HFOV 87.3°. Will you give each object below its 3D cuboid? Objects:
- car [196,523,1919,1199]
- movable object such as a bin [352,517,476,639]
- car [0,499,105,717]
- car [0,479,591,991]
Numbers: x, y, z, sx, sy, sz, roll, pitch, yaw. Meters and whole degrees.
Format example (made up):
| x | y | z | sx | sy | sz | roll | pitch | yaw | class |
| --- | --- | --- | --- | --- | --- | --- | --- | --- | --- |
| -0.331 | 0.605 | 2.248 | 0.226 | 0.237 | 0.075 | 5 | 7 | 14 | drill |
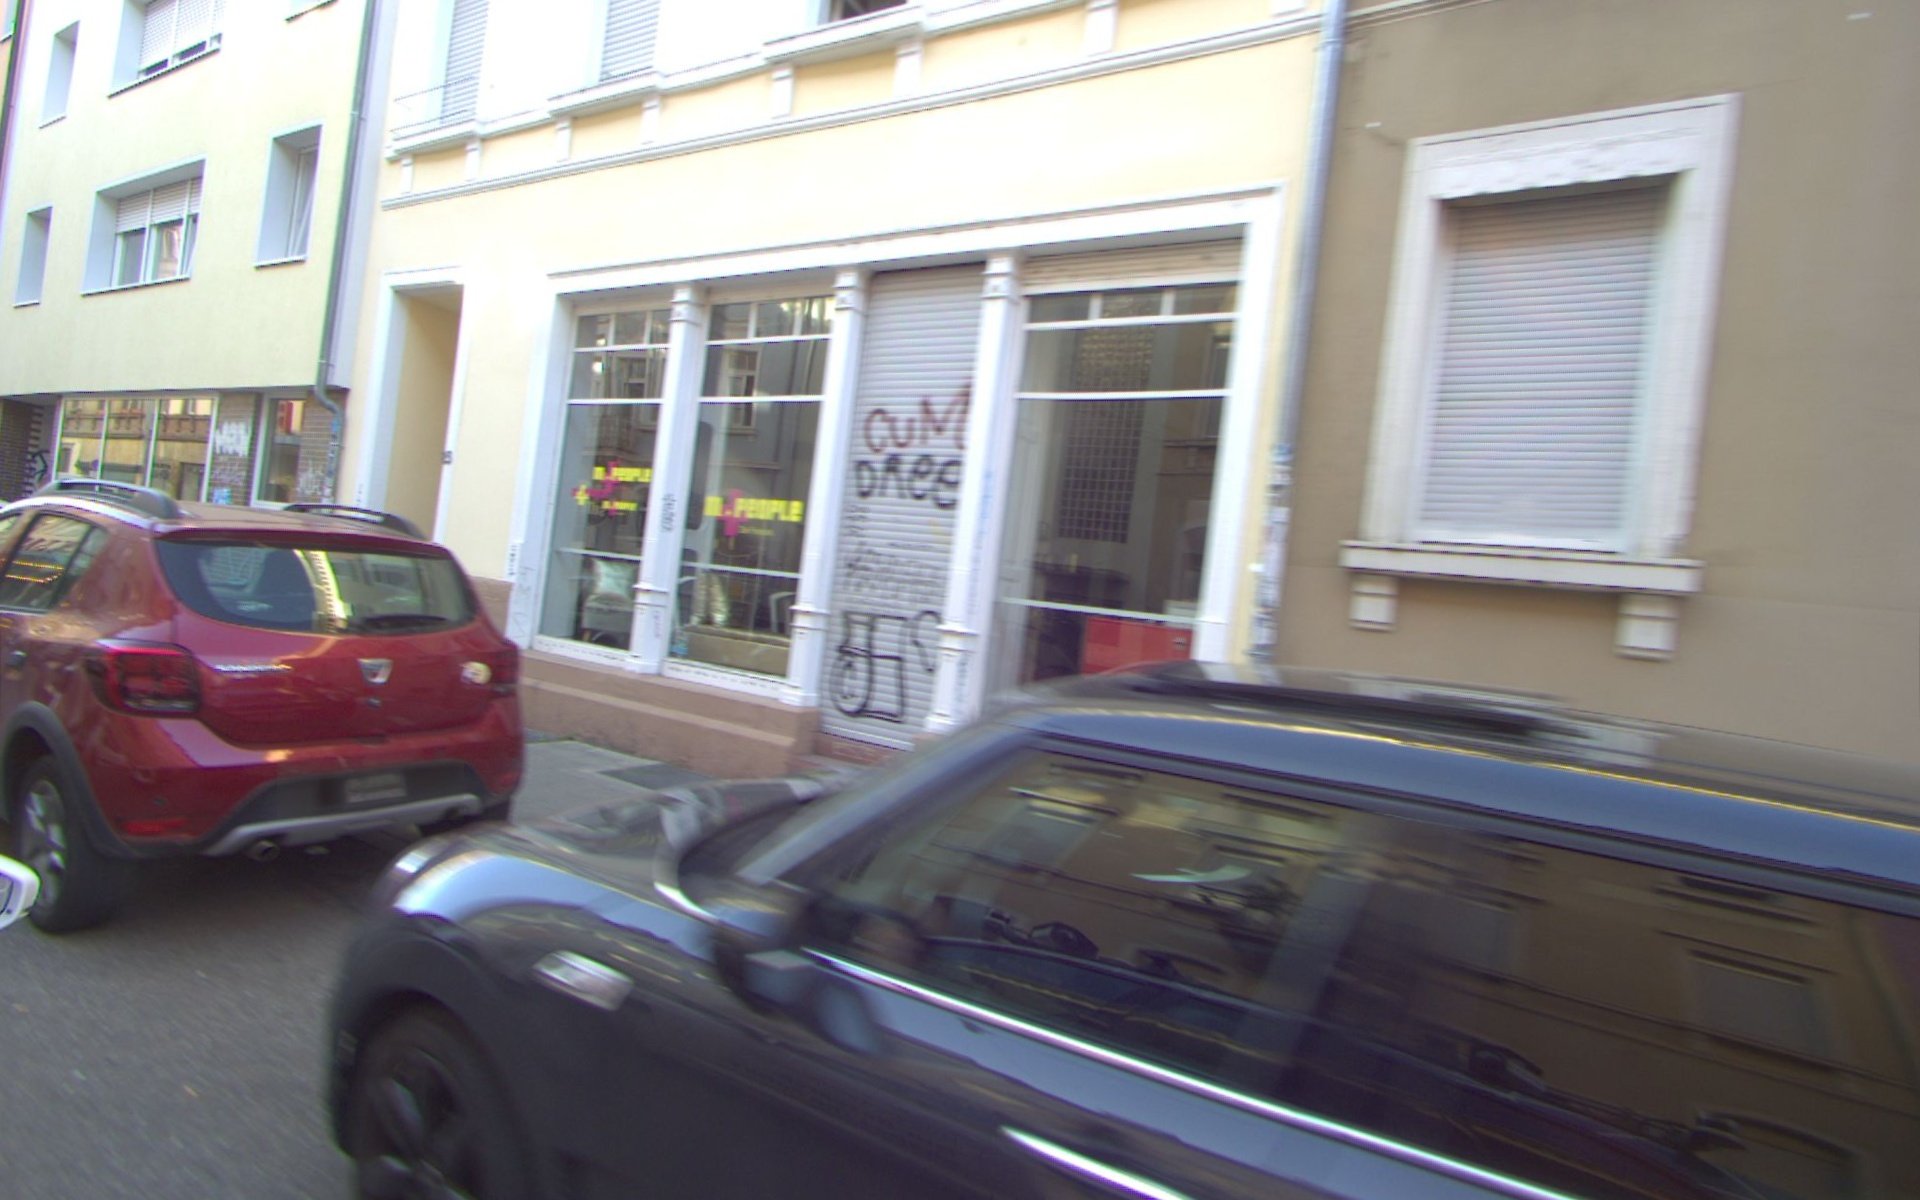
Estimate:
| x | y | z | sx | sy | sz | roll | pitch | yaw | class |
| --- | --- | --- | --- | --- | --- | --- | --- | --- | --- |
| 0.631 | 0.889 | 1.899 | 4.308 | 1.539 | 1.765 | 7 | -2 | 32 | car |
| -4.751 | -0.179 | 8.774 | 0.502 | 0.946 | 0.707 | 7 | -1 | 31 | movable object such as a bin |
| -8.460 | -0.155 | 7.651 | 4.123 | 1.471 | 1.690 | 7 | 1 | 31 | car |
| -3.912 | 0.315 | 4.948 | 3.934 | 1.570 | 1.792 | 7 | 0 | 32 | car |
